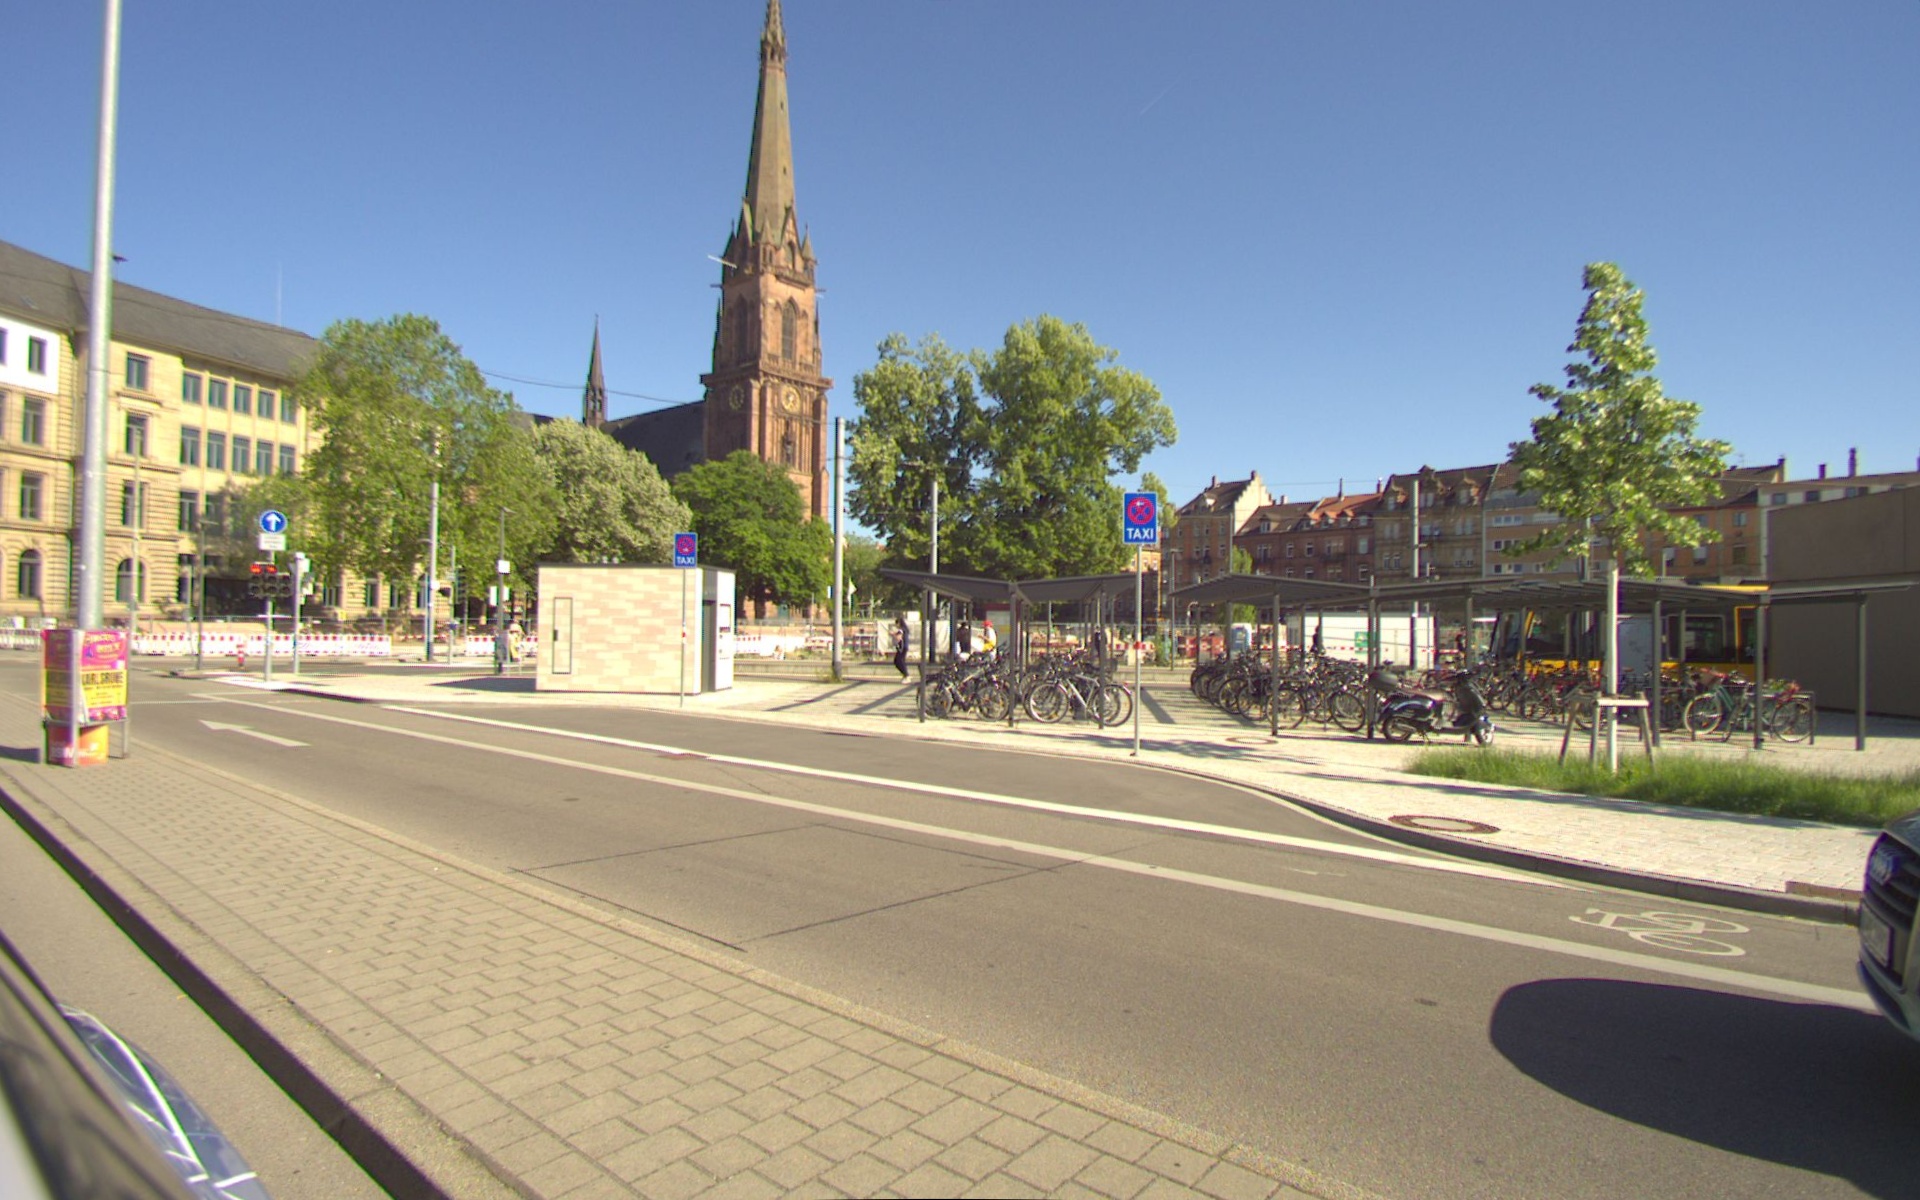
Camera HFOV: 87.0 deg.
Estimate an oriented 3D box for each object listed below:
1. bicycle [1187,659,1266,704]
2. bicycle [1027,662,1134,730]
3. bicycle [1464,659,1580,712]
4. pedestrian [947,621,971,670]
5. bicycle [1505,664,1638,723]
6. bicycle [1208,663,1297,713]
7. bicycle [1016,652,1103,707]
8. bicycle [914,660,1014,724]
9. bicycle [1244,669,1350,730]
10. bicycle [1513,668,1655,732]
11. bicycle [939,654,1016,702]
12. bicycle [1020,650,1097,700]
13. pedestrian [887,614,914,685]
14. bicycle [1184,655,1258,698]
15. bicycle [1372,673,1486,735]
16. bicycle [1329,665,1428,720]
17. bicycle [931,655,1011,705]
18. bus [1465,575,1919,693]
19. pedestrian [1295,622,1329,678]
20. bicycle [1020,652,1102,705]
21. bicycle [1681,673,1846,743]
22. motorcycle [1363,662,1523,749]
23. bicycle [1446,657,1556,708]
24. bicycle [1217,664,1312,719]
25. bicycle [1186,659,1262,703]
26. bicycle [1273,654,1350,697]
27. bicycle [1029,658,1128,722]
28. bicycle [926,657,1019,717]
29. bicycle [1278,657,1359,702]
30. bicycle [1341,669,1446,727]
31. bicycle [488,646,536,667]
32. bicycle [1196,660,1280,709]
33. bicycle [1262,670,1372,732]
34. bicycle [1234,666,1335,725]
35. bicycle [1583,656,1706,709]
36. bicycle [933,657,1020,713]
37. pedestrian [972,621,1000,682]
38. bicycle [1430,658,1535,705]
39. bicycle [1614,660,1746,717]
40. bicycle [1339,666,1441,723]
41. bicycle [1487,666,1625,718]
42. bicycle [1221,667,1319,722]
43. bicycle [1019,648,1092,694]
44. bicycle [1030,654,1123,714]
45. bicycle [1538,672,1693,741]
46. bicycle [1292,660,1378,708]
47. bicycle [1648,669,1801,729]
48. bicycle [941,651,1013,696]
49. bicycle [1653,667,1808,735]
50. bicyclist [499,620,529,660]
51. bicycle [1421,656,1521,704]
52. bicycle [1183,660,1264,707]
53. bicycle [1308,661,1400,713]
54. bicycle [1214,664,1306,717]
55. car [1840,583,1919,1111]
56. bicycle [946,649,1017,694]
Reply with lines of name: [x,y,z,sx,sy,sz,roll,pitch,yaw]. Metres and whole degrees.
bicycle: [6.057,1.859,23.039,1.661,0.980,0.406,1,-5,3]
bicycle: [2.026,1.605,17.081,1.753,1.083,0.406,1,-3,6]
bicycle: [11.780,1.794,21.253,2.048,1.045,0.533,-1,2,8]
pedestrian: [-0.036,1.732,38.972,0.610,1.874,0.703,2,-2,-39]
bicycle: [11.326,1.732,18.800,2.048,1.045,0.533,-1,0,8]
bicycle: [5.929,1.784,20.552,1.661,0.980,0.406,1,-5,3]
bicycle: [2.057,1.642,20.962,1.755,1.083,0.406,1,0,6]
bicycle: [0.071,1.573,17.371,1.663,1.006,0.406,2,0,8]
bicycle: [5.797,1.708,17.451,1.661,0.980,0.406,1,0,3]
bicycle: [10.853,1.738,17.645,2.048,1.045,0.533,-1,0,8]
bicycle: [0.389,1.704,22.273,1.663,1.006,0.406,0,0,8]
bicycle: [2.277,1.731,23.487,1.755,1.083,0.406,1,0,6]
pedestrian: [-1.597,1.311,27.041,0.692,1.874,0.620,0,-3,0]
bicycle: [6.260,1.836,24.300,1.661,0.980,0.406,1,-5,3]
bicycle: [7.772,1.722,16.809,1.661,0.980,0.406,-1,0,3]
bicycle: [7.846,1.730,19.001,1.661,0.980,0.406,-1,0,3]
bicycle: [0.233,1.675,21.393,1.663,1.006,0.406,0,0,8]
bus: [21.941,0.931,28.636,13.462,3.095,2.859,0,-2,6]
pedestrian: [12.292,1.723,35.343,0.790,1.931,0.772,1,-2,-23]
bicycle: [2.197,1.694,22.017,1.755,1.083,0.406,1,0,6]
bicycle: [12.771,1.713,16.126,2.048,1.045,0.533,-1,0,8]
motorcycle: [7.197,1.569,15.148,2.059,1.228,0.569,-1,-2,3]
bicycle: [11.870,1.800,22.243,2.048,1.045,0.533,-1,2,8]
bicycle: [5.818,1.736,19.364,1.661,0.980,0.406,1,0,3]
bicycle: [6.141,1.880,23.612,1.661,0.980,0.406,1,-5,3]
bicycle: [8.296,1.784,23.903,1.661,0.980,0.406,-1,0,3]
bicycle: [2.143,1.616,18.325,1.753,1.083,0.406,1,0,6]
bicycle: [0.235,1.596,18.590,1.663,1.006,0.406,2,0,8]
bicycle: [8.077,1.787,22.826,1.661,0.980,0.406,-1,0,3]
bicycle: [7.647,1.724,17.880,1.661,0.980,0.406,-1,0,3]
bicycle: [-18.280,2.286,41.354,0.734,0.788,2.044,0,-2,13]
bicycle: [5.929,1.805,21.628,1.661,0.980,0.406,1,-5,3]
bicycle: [5.937,1.684,16.878,1.661,0.980,0.406,-1,0,3]
bicycle: [5.819,1.708,18.176,1.661,0.980,0.406,1,0,3]
bicycle: [14.082,1.695,20.865,2.048,1.045,0.533,-1,0,8]
bicycle: [0.332,1.663,19.933,1.663,1.006,0.406,2,0,8]
pedestrian: [0.709,1.390,27.449,0.694,1.635,0.619,0,-2,8]
bicycle: [12.035,1.878,23.362,2.048,1.045,0.533,-1,-4,8]
bicycle: [13.857,1.698,19.513,2.048,1.045,0.533,-1,0,8]
bicycle: [7.827,1.721,18.448,1.661,0.980,0.406,-1,0,3]
bicycle: [11.618,1.797,19.778,2.208,0.951,0.685,-1,0,7]
bicycle: [5.732,1.749,18.756,1.661,0.980,0.406,-1,0,3]
bicycle: [2.318,1.723,24.666,1.755,1.083,0.406,1,0,6]
bicycle: [2.239,1.620,19.571,1.755,1.083,0.406,1,0,6]
bicycle: [10.576,1.710,16.377,2.048,1.045,0.533,-1,0,8]
bicycle: [7.993,1.789,21.611,1.661,0.980,0.406,-1,0,3]
bicycle: [13.780,1.775,18.278,2.117,1.005,0.690,-1,0,7]
bicycle: [0.397,1.701,23.651,1.663,1.006,0.406,0,0,8]
bicycle: [12.993,1.695,17.103,2.030,1.087,0.604,-1,0,7]
bicyclist: [-18.244,1.635,41.425,0.733,1.583,0.882,0,-2,11]
bicycle: [12.304,1.918,24.417,2.048,1.045,0.533,1,3,8]
bicycle: [5.790,1.836,22.284,1.661,0.980,0.406,1,-5,3]
bicycle: [7.862,1.729,20.217,1.661,0.980,0.406,-1,0,3]
bicycle: [5.905,1.780,19.947,1.661,0.980,0.406,1,0,3]
car: [4.783,0.743,2.074,4.246,1.594,1.773,-1,-4,34]
bicycle: [0.522,1.701,24.176,1.663,1.006,0.406,0,0,8]
